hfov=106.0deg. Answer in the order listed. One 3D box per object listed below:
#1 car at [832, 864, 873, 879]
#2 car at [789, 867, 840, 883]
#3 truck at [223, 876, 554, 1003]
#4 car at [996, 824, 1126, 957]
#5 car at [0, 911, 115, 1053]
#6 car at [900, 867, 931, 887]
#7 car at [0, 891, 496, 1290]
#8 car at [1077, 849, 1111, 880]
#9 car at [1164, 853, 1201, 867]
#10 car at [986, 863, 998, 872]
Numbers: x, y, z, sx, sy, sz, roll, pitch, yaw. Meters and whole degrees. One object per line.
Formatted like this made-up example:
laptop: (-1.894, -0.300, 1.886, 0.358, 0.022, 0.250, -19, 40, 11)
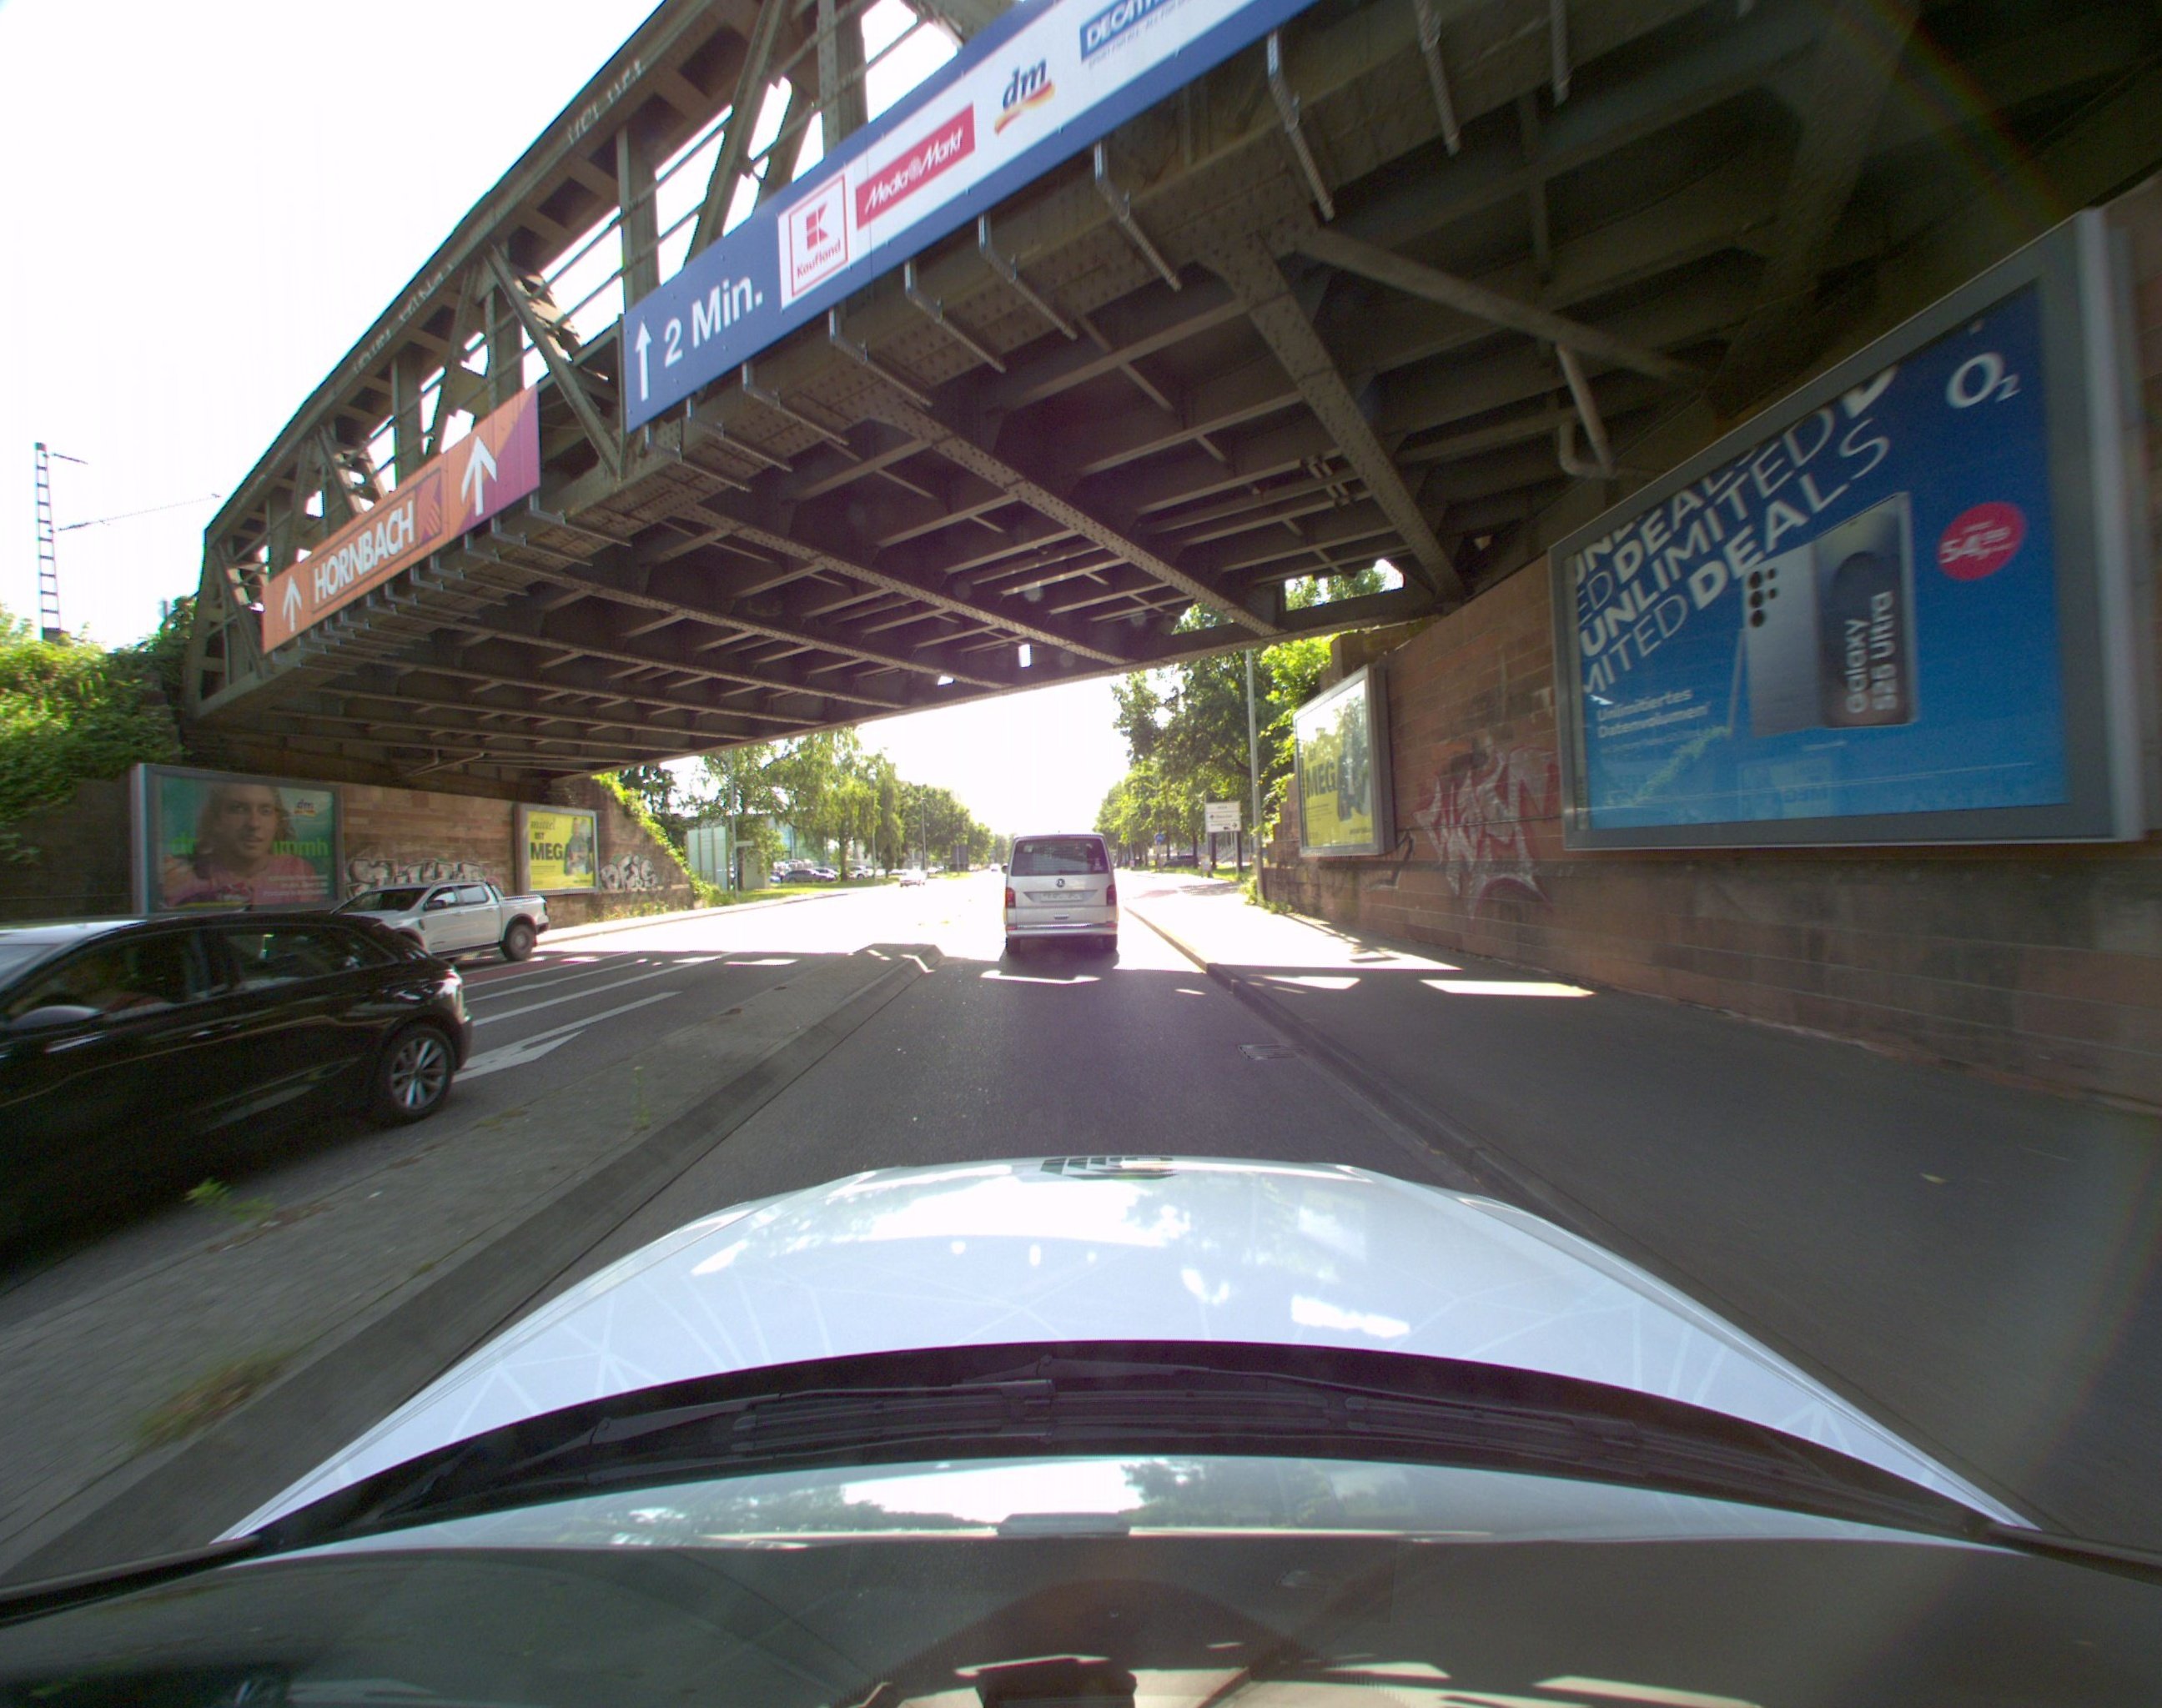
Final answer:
car: (-25.947, 2.004, 92.612, 4.236, 1.547, 1.861, -2, 0, -8)
car: (-25.243, 1.965, 77.165, 4.236, 1.344, 1.994, -2, 0, -8)
truck: (-13.236, 1.494, 16.216, 2.021, 1.819, 5.321, -5, 0, -2)
car: (-0.504, 0.589, 14.864, 1.938, 1.971, 5.012, -1, -1, -5)
car: (-12.661, 1.496, 7.901, 1.813, 1.480, 3.940, -5, 0, -2)
car: (-13.839, 1.879, 68.160, 1.965, 1.492, 4.075, -3, 0, -4)
car: (-4.977, 0.980, 3.582, 1.761, 1.395, 4.330, -3, -1, -3)
car: (0.841, 0.703, 55.921, 1.964, 1.924, 4.556, -2, 0, -3)
car: (11.329, 0.692, 91.095, 3.788, 1.416, 1.702, -3, 0, 0)
car: (-16.187, 2.422, 147.543, 1.965, 1.492, 4.075, -3, 0, -4)
